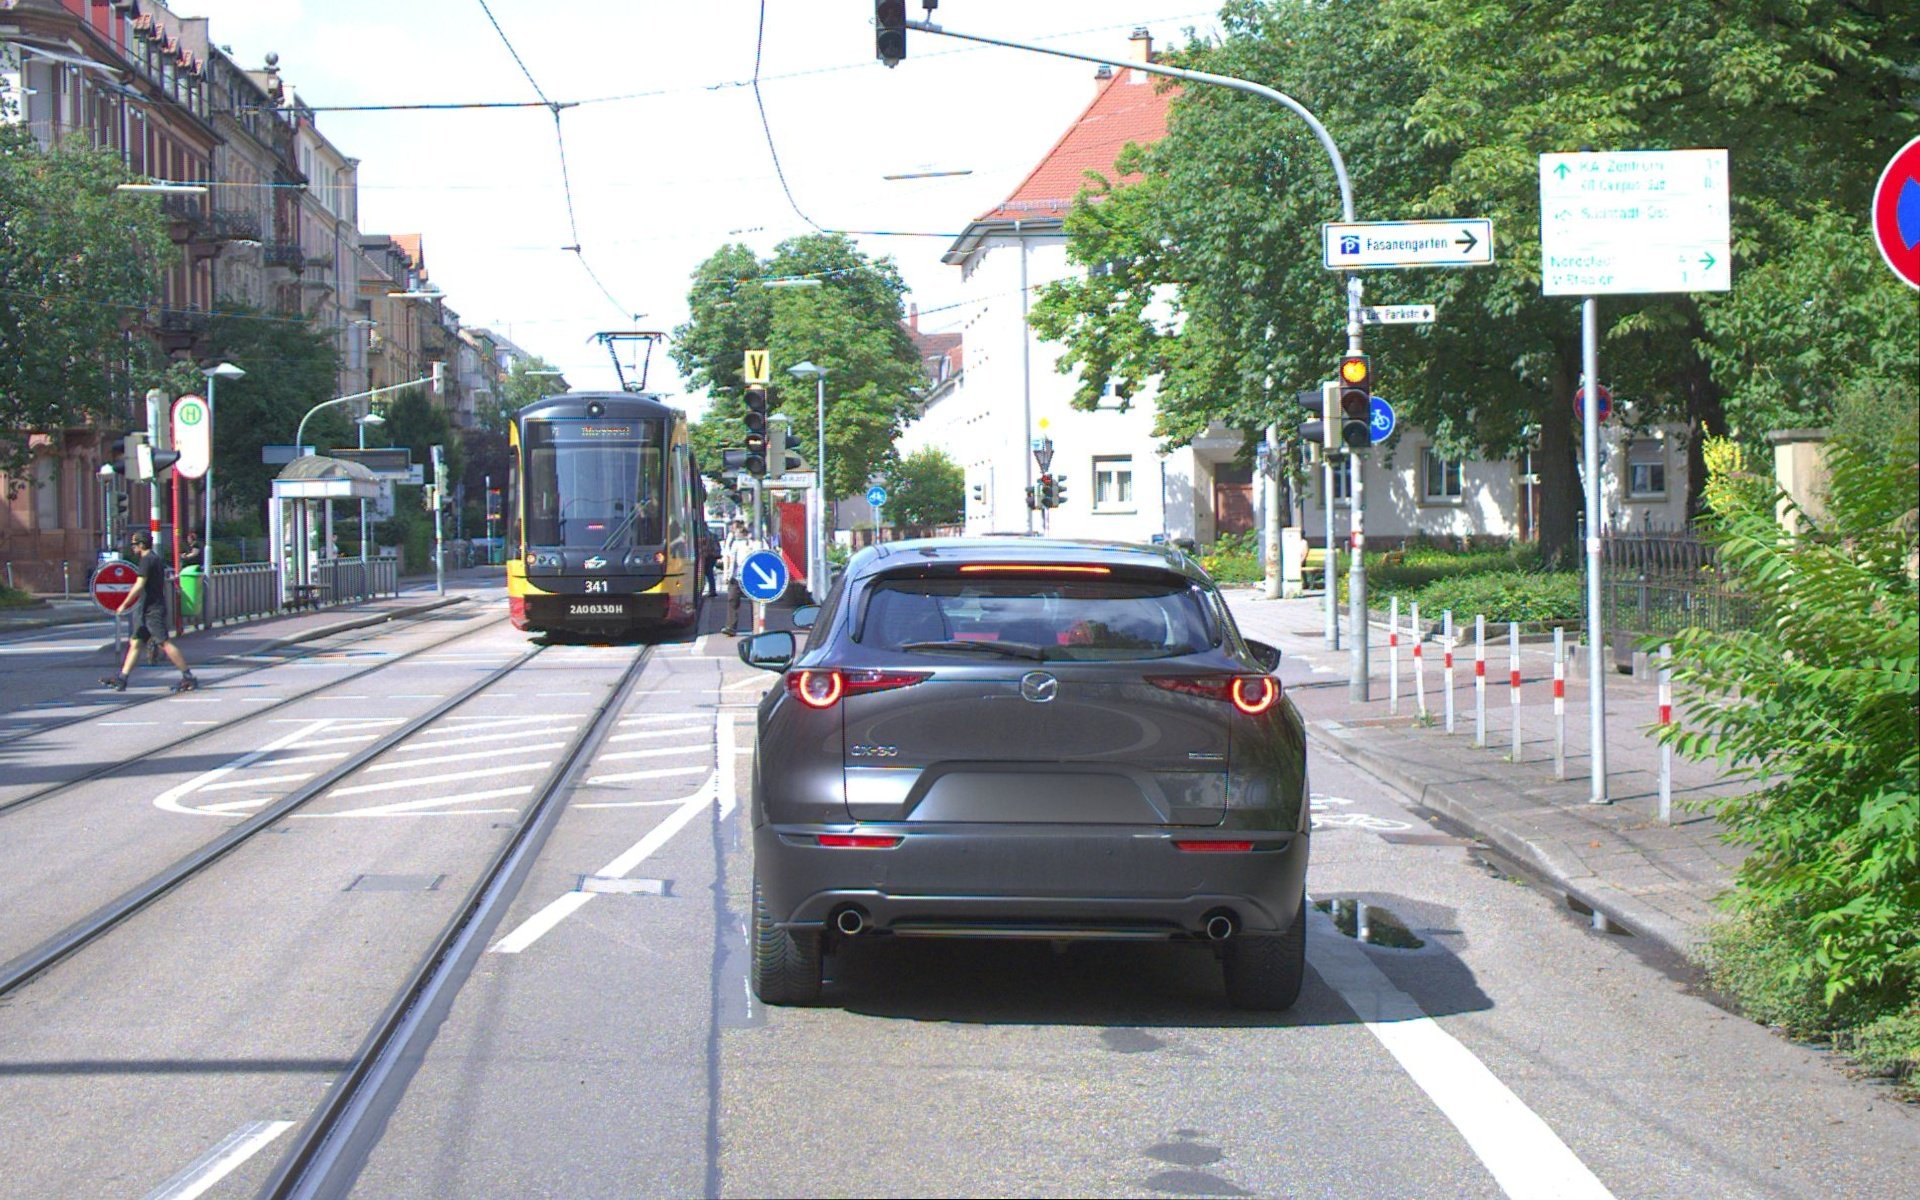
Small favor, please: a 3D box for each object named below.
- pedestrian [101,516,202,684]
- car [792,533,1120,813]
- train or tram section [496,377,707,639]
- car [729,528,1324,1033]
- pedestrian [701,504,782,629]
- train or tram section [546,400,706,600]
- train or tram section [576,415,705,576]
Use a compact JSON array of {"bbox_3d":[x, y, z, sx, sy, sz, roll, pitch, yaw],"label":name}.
[{"bbox_3d":[-8.175,-0.005,34.780,0.751,1.678,0.700,-1,1,9],"label":"pedestrian"},{"bbox_3d":[-0.046,0.366,20.973,1.778,1.494,4.000,1,1,-1],"label":"car"},{"bbox_3d":[-5.333,-1.498,53.240,2.752,3.478,14.411,-1,2,-4],"label":"train or tram section"},{"bbox_3d":[0.180,0.504,12.368,1.778,1.494,4.000,-1,1,-1],"label":"car"},{"bbox_3d":[-2.998,-0.459,47.222,0.823,1.699,0.718,0,1,32],"label":"pedestrian"},{"bbox_3d":[-6.398,-2.023,67.613,2.752,3.478,14.411,-1,2,-4],"label":"train or tram section"},{"bbox_3d":[-7.480,-2.544,81.972,2.752,3.478,14.411,-1,2,-4],"label":"train or tram section"}]
